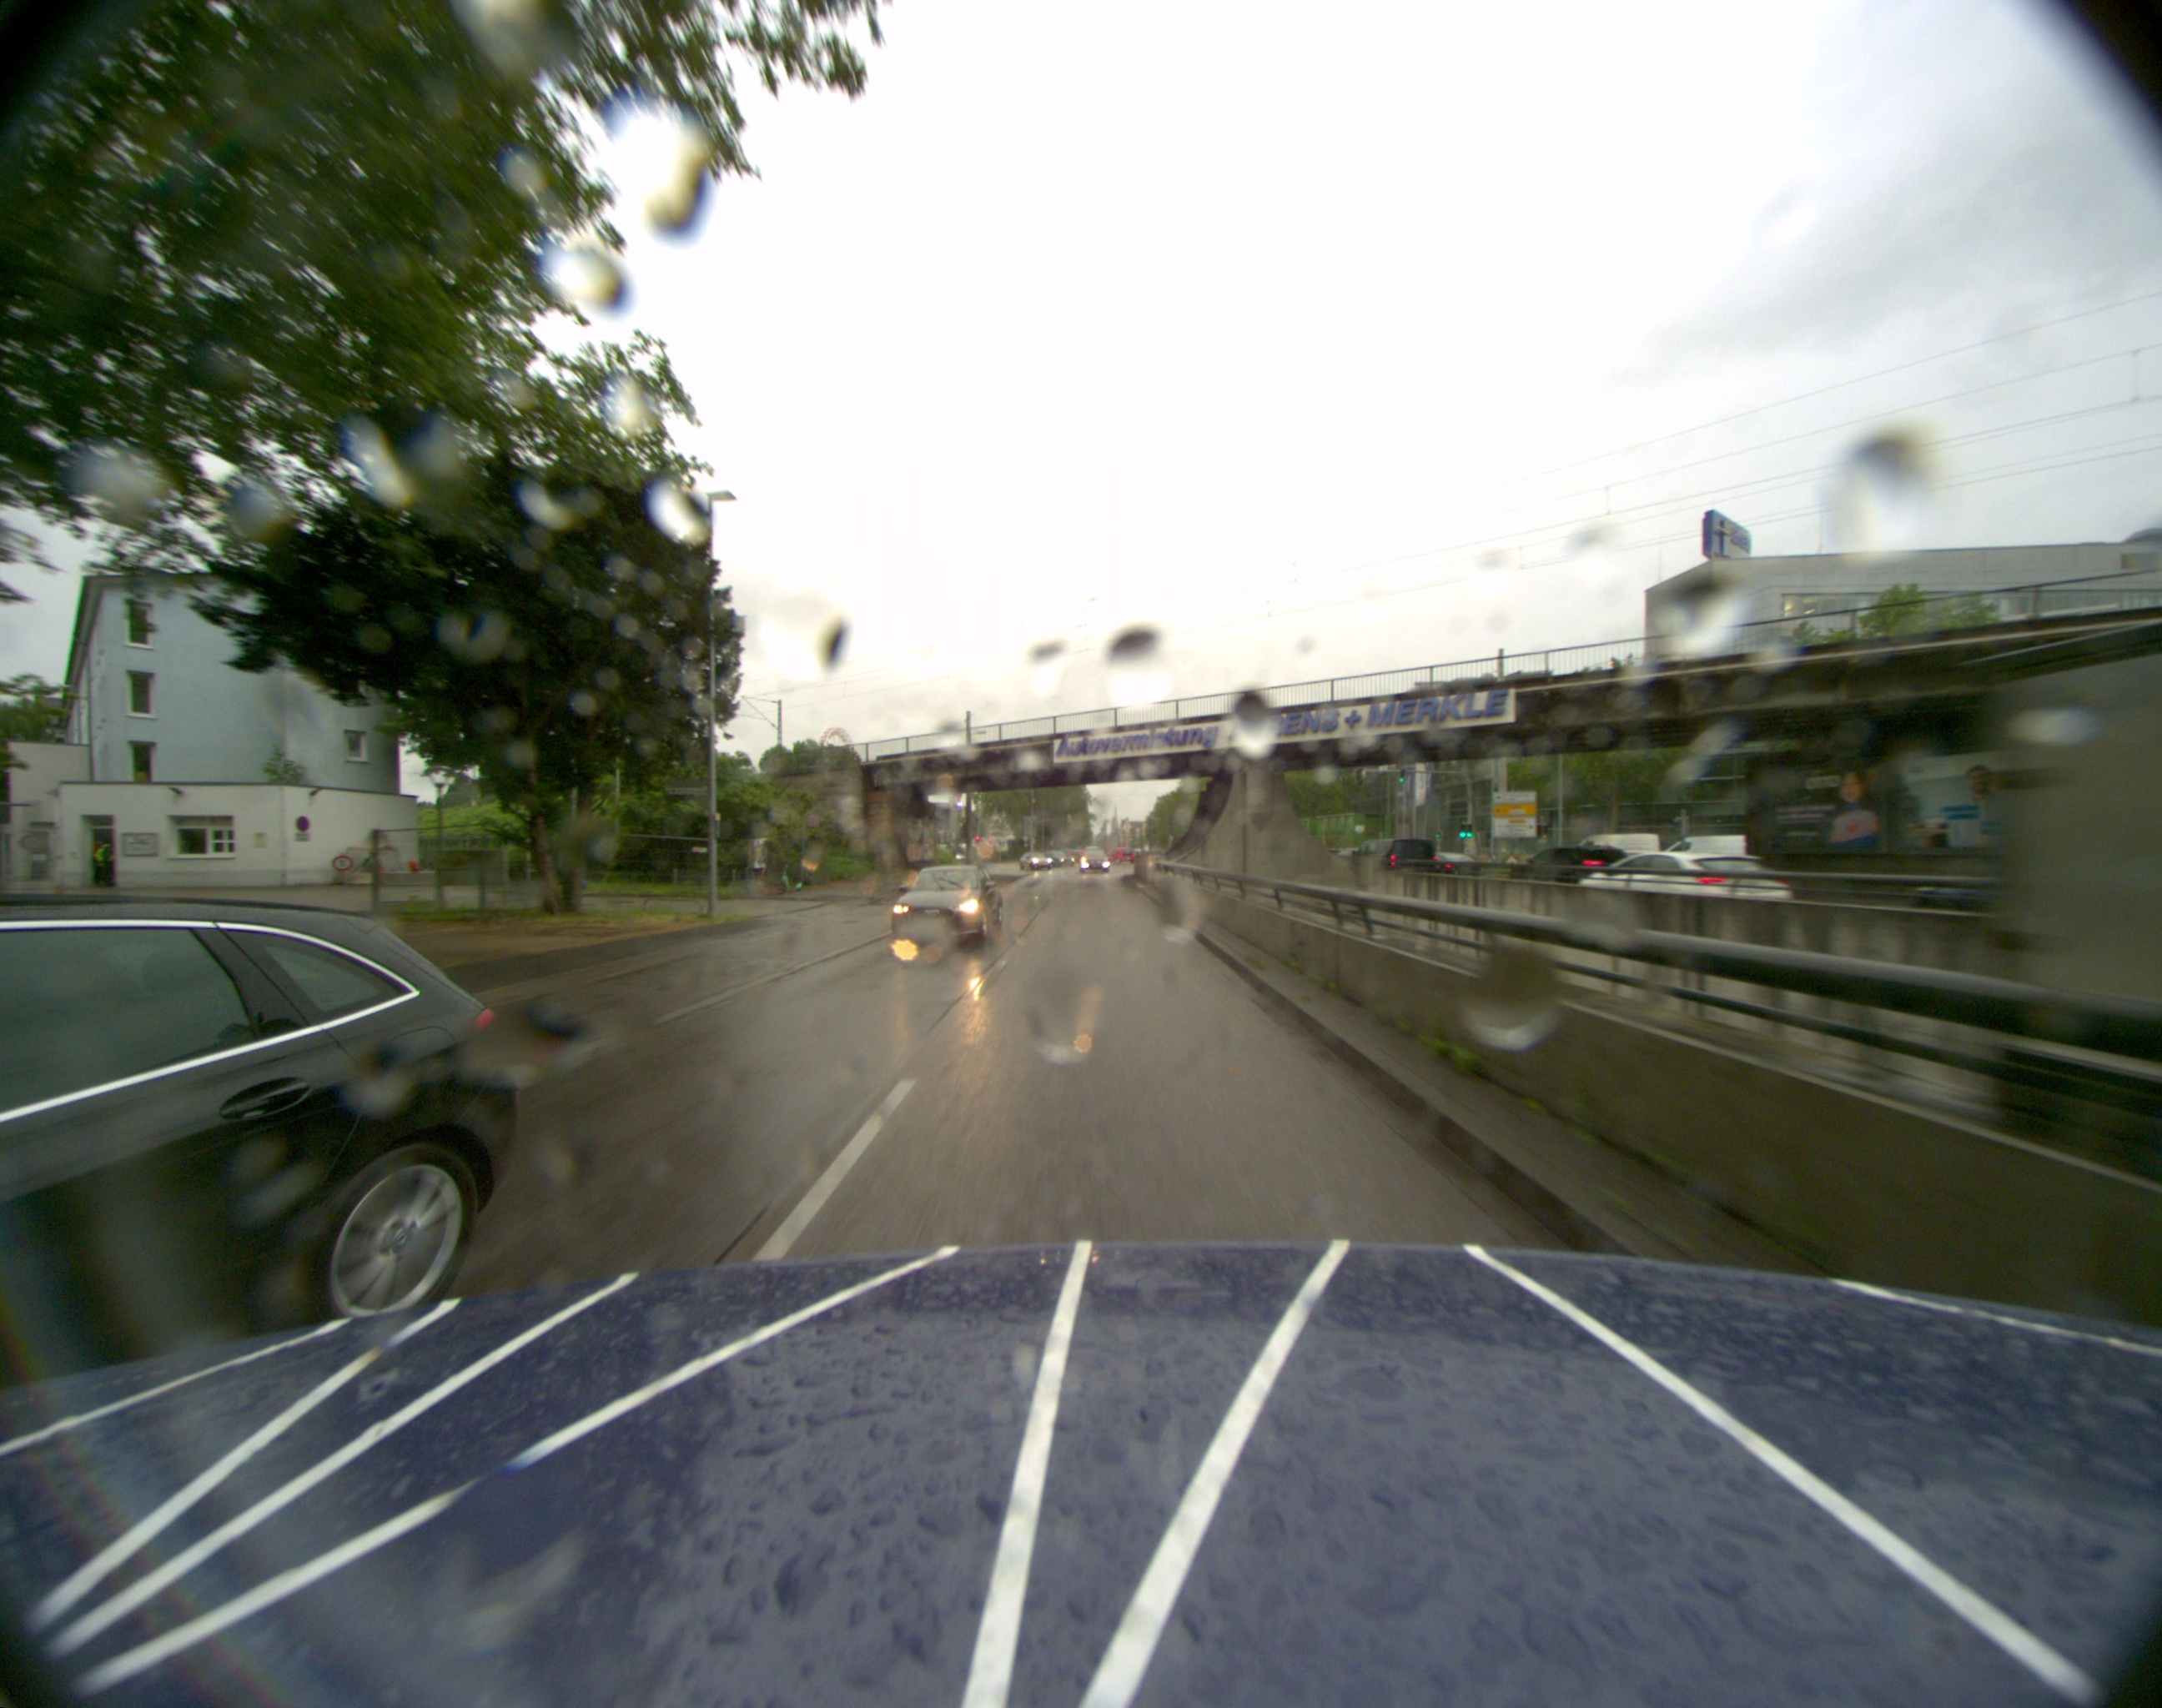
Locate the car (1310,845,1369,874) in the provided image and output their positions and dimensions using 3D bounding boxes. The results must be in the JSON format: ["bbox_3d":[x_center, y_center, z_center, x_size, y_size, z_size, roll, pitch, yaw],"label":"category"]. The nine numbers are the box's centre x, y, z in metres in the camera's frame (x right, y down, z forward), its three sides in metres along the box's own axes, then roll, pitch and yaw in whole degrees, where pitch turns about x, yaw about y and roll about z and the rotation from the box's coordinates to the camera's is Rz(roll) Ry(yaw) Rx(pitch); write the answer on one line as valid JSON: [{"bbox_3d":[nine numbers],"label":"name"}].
[{"bbox_3d":[15.115,0.286,44.729,1.984,1.565,4.550,0,1,1],"label":"car"}]

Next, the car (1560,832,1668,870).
[{"bbox_3d":[36.322,-0.223,51.877,5.944,2.420,1.974,0,1,37],"label":"car"}]

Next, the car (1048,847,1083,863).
[{"bbox_3d":[-1.650,0.074,78.025,1.663,1.537,3.989,-1,1,-35],"label":"car"}]

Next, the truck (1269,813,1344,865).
[{"bbox_3d":[18.577,-1.168,63.448,2.687,3.926,10.191,0,0,-3],"label":"truck"}]

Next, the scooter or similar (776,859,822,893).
[{"bbox_3d":[-10.590,0.802,28.588,0.771,1.172,1.549,3,1,19],"label":"scooter or similar"}]

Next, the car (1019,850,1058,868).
[{"bbox_3d":[-3.612,0.382,63.622,1.901,1.341,3.991,-1,1,-25],"label":"car"}]

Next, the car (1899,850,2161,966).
[{"bbox_3d":[16.091,0.761,11.757,1.984,1.565,4.550,0,1,1],"label":"car"}]

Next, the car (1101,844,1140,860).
[{"bbox_3d":[3.630,-0.241,70.647,1.824,1.444,3.990,-1,1,-28],"label":"car"}]

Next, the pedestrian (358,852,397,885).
[{"bbox_3d":[-27.733,0.554,29.952,0.860,1.287,0.705,0,1,-9],"label":"pedestrian"}]

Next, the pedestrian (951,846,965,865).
[{"bbox_3d":[-11.139,0.137,68.897,0.817,1.709,1.007,0,1,28],"label":"pedestrian"}]

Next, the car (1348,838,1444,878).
[{"bbox_3d":[13.076,0.106,31.957,1.984,1.565,5.540,0,1,3],"label":"car"}]

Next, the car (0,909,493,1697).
[{"bbox_3d":[-3.148,1.000,0.859,1.875,1.515,4.085,0,1,-2],"label":"car"}]

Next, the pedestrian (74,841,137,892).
[{"bbox_3d":[-33.576,0.407,26.170,0.930,1.726,0.925,0,1,-6],"label":"pedestrian"}]

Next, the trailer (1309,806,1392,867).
[{"bbox_3d":[18.955,-1.181,54.169,2.688,3.964,8.518,0,1,-2],"label":"trailer"}]

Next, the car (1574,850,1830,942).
[{"bbox_3d":[12.512,0.750,15.738,1.998,1.623,4.088,0,1,1],"label":"car"}]

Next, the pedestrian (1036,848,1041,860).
[{"bbox_3d":[-5.737,0.000,102.537,0.644,1.642,0.626,0,0,9],"label":"pedestrian"}]

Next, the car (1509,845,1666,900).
[{"bbox_3d":[15.980,0.511,24.351,1.984,1.565,4.609,0,1,1],"label":"car"}]

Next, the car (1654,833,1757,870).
[{"bbox_3d":[42.012,-0.178,51.298,5.246,2.420,1.974,0,1,37],"label":"car"}]

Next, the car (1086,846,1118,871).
[{"bbox_3d":[1.405,0.281,53.217,2.028,1.647,4.060,0,1,-2],"label":"car"}]

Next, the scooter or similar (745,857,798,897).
[{"bbox_3d":[-10.939,0.797,26.906,0.708,1.304,1.561,7,6,41],"label":"scooter or similar"}]

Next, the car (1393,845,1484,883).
[{"bbox_3d":[15.926,0.385,34.168,1.984,1.565,4.550,0,1,1],"label":"car"}]

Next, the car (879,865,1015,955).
[{"bbox_3d":[-2.482,1.006,15.042,1.840,1.390,3.753,-2,1,2],"label":"car"}]
